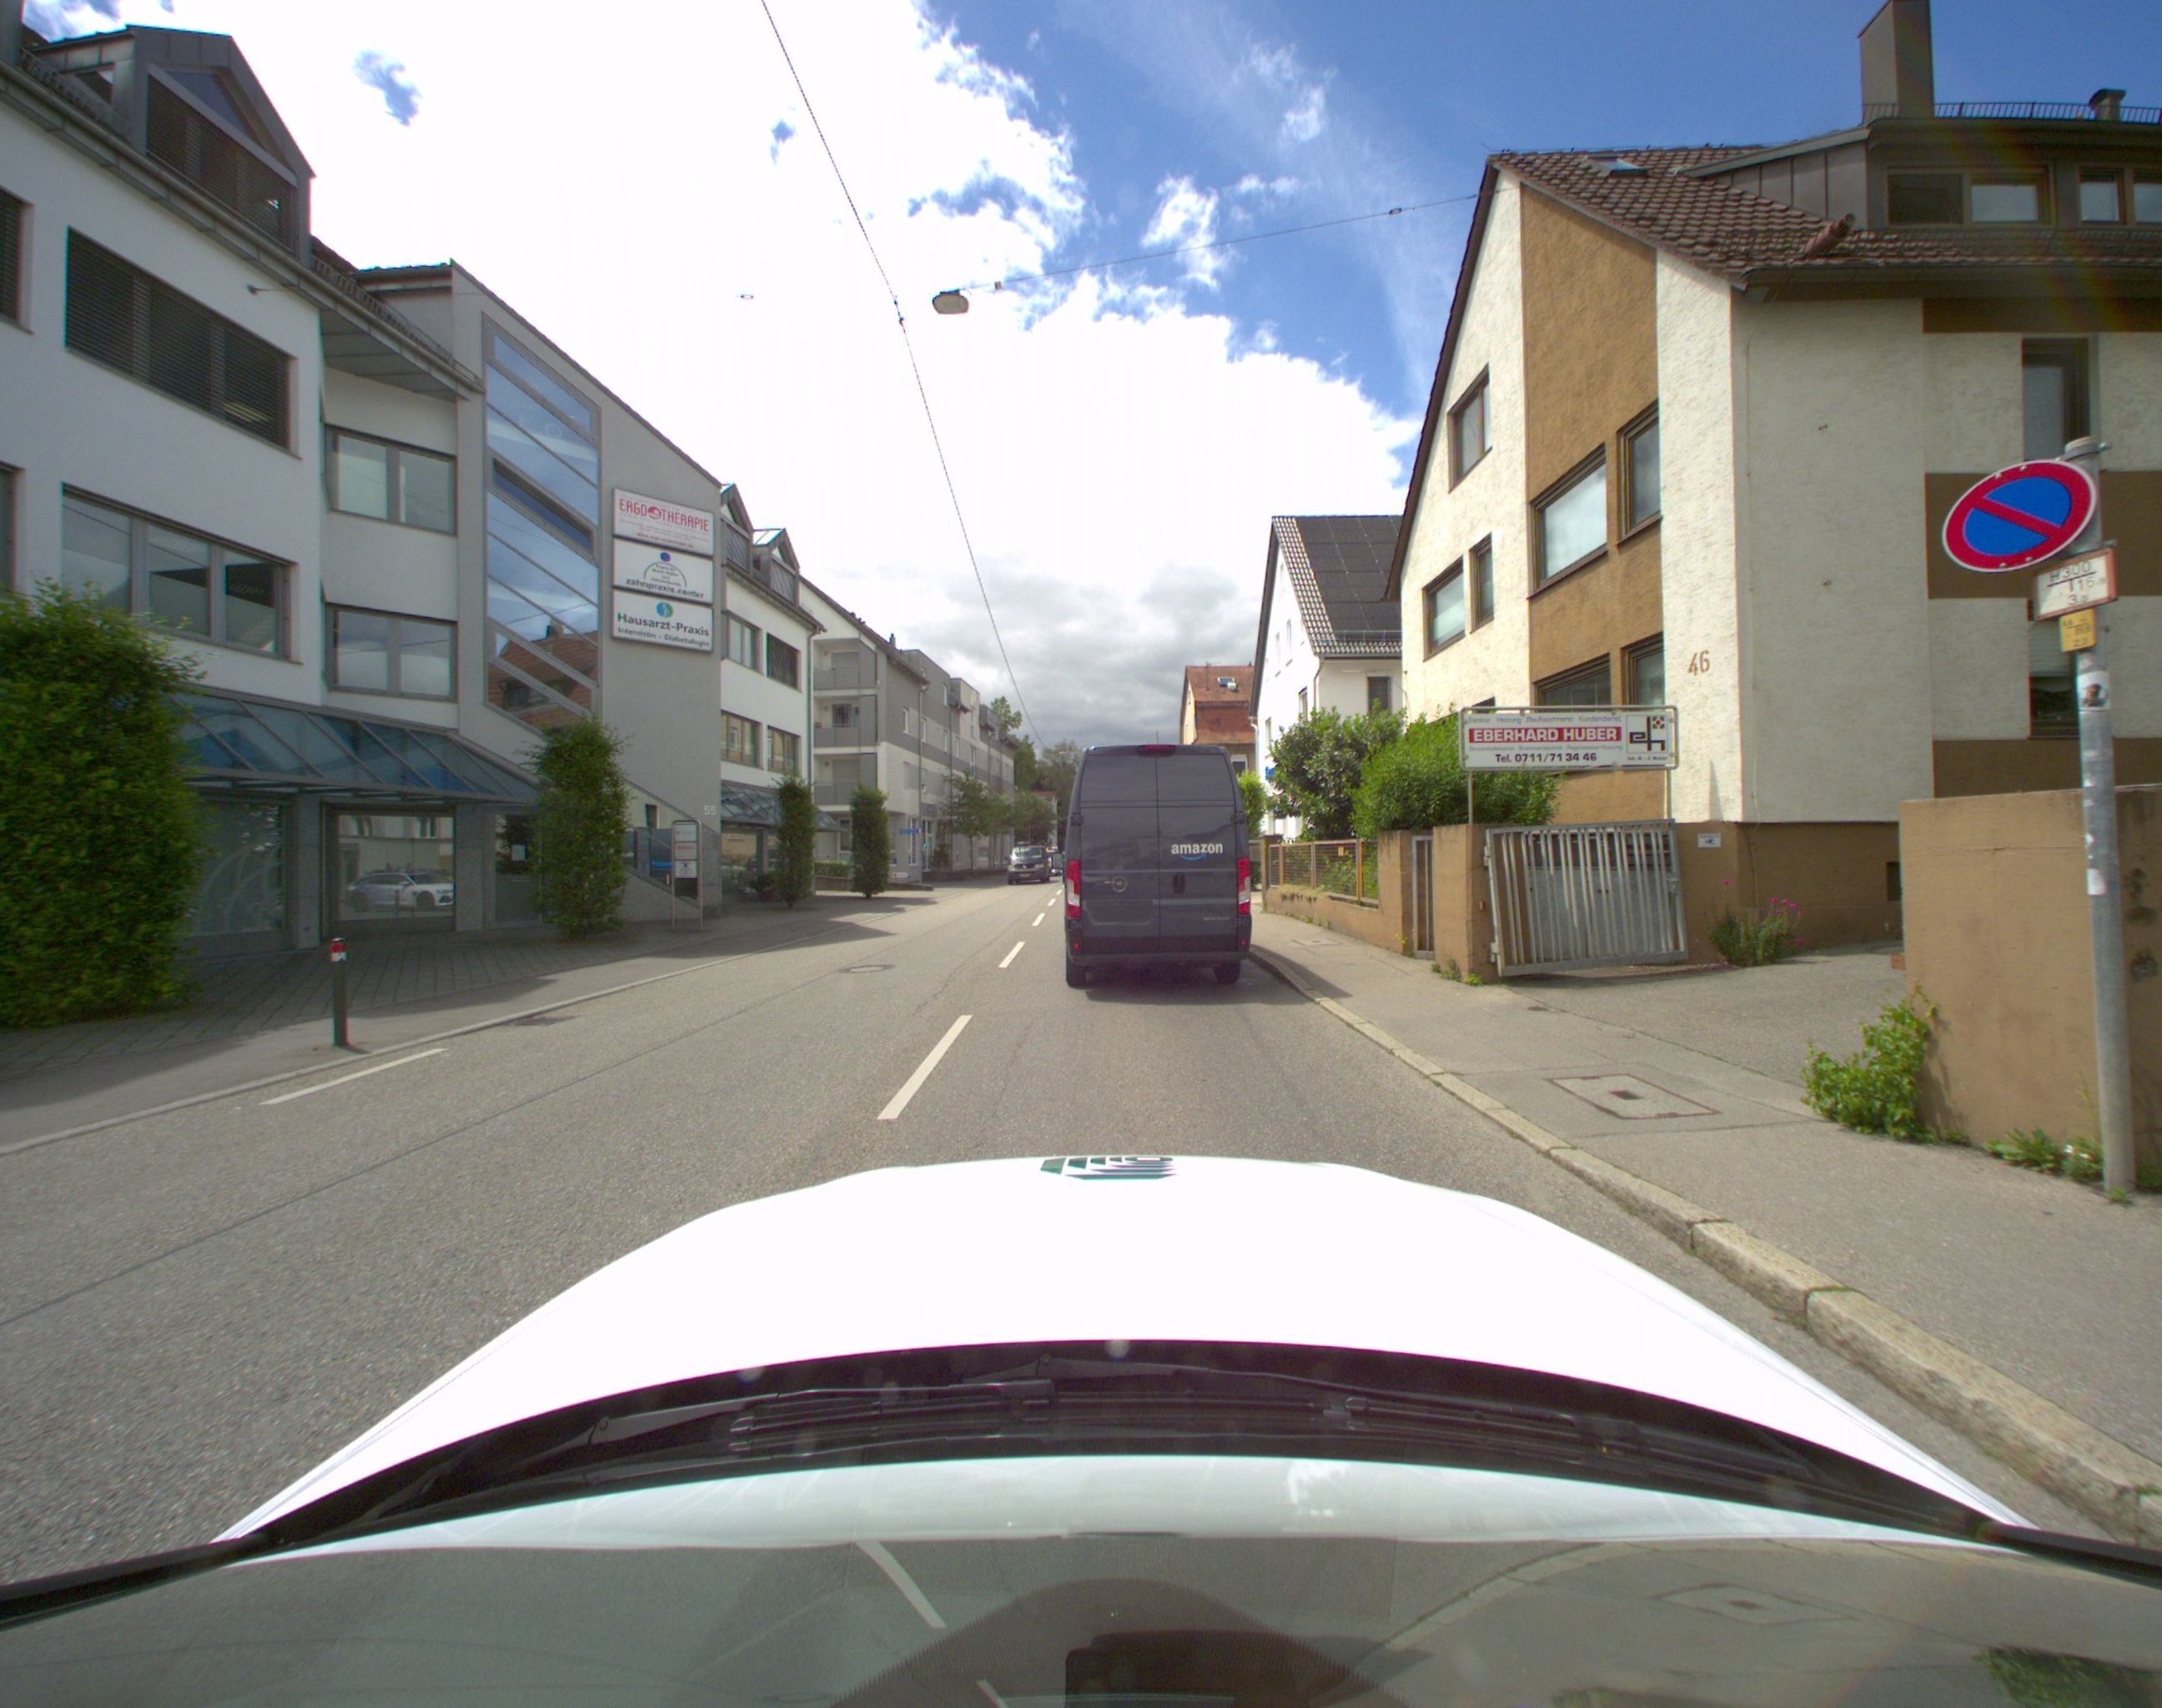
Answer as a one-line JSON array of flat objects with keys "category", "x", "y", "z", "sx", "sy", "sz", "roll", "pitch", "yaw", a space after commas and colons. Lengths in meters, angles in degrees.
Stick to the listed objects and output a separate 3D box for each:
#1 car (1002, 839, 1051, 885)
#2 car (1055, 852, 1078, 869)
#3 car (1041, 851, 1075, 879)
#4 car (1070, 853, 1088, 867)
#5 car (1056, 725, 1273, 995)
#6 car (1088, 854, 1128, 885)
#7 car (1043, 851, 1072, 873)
[{"category": "car", "x": -2.710, "y": 0.372, "z": 41.574, "sx": 2.098, "sy": 2.121, "sz": 4.765, "roll": -3, "pitch": 0, "yaw": 0}, {"category": "car", "x": -1.388, "y": 0.600, "z": 79.621, "sx": 2.098, "sy": 1.596, "sz": 4.649, "roll": -1, "pitch": 0, "yaw": 0}, {"category": "car", "x": -1.464, "y": 0.708, "z": 54.480, "sx": 2.098, "sy": 1.709, "sz": 4.765, "roll": -1, "pitch": 0, "yaw": 0}, {"category": "car", "x": -0.238, "y": 0.673, "z": 97.110, "sx": 2.098, "sy": 1.596, "sz": 4.649, "roll": -1, "pitch": 0, "yaw": 0}, {"category": "car", "x": 0.846, "y": 0.058, "z": 11.347, "sx": 2.246, "sy": 2.795, "sz": 5.567, "roll": -1, "pitch": 0, "yaw": -1}, {"category": "car", "x": 1.426, "y": 0.740, "z": 41.536, "sx": 1.888, "sy": 1.453, "sz": 3.972, "roll": -1, "pitch": 0, "yaw": 3}, {"category": "car", "x": -1.794, "y": 0.602, "z": 63.640, "sx": 2.098, "sy": 1.596, "sz": 4.649, "roll": -1, "pitch": 0, "yaw": 0}]
